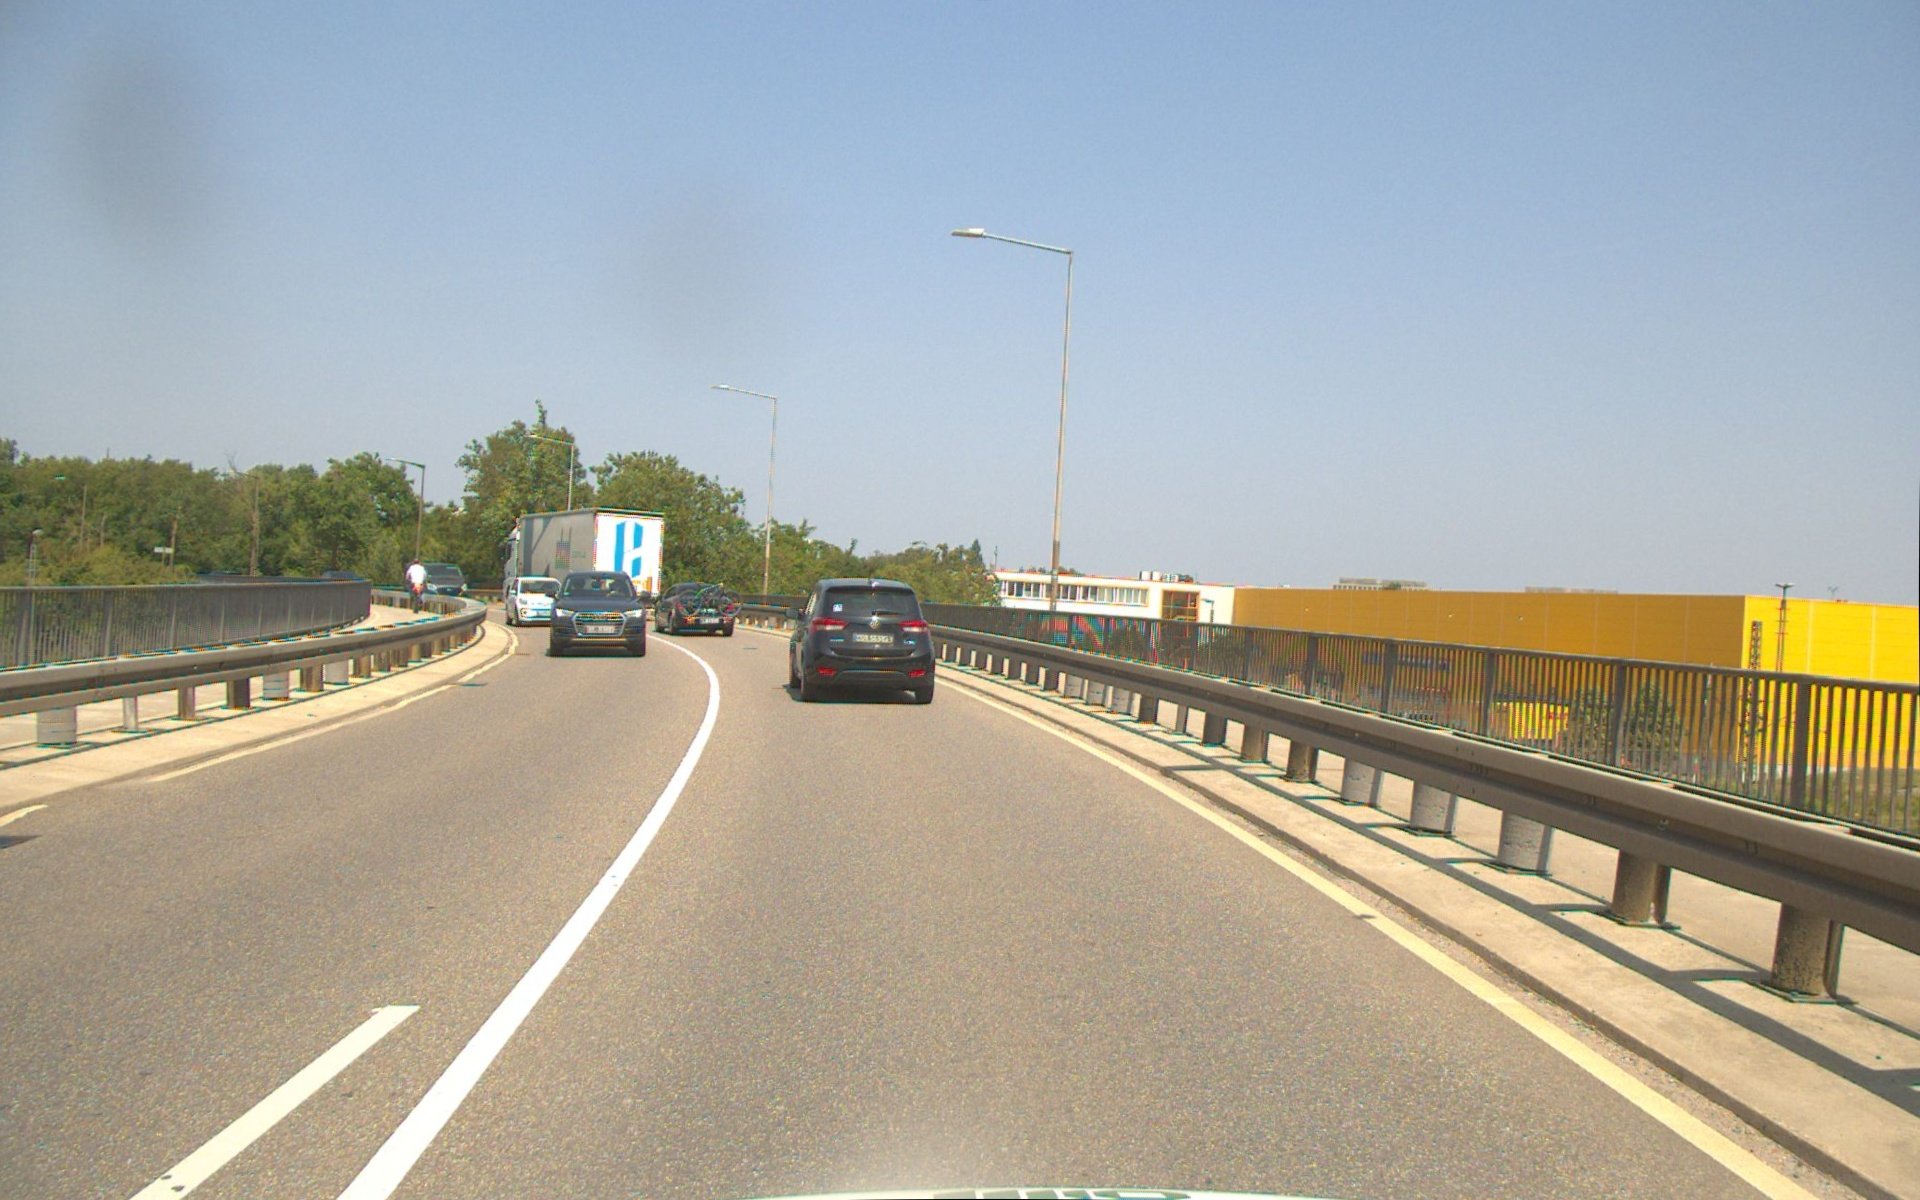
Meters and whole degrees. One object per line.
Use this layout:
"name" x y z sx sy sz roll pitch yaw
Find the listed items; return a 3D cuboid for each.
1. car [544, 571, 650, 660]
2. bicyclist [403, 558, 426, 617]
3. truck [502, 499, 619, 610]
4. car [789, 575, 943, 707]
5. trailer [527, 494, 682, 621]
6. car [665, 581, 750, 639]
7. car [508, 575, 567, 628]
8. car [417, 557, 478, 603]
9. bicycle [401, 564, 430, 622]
"car" -7.425 0.260 33.544 1.812 1.664 4.214 0 1 -16
"bicyclist" -18.079 -0.426 54.823 0.616 1.919 0.707 1 1 -24
"truck" -17.487 -1.963 72.070 3.529 4.518 6.461 1 1 -26
"car" -1.386 0.498 22.857 1.884 1.601 3.887 2 1 -6
"trailer" -14.196 -1.675 65.043 3.524 4.460 11.353 1 1 -25
"car" -7.034 0.251 45.803 1.977 1.454 3.764 2 1 -14
"car" -12.973 0.035 50.707 1.637 1.489 3.472 2 1 -15
"car" -23.074 -0.879 74.314 1.981 1.993 5.230 1 0 -24
"bicycle" -18.104 -0.249 54.994 0.689 1.833 2.165 1 1 -24
